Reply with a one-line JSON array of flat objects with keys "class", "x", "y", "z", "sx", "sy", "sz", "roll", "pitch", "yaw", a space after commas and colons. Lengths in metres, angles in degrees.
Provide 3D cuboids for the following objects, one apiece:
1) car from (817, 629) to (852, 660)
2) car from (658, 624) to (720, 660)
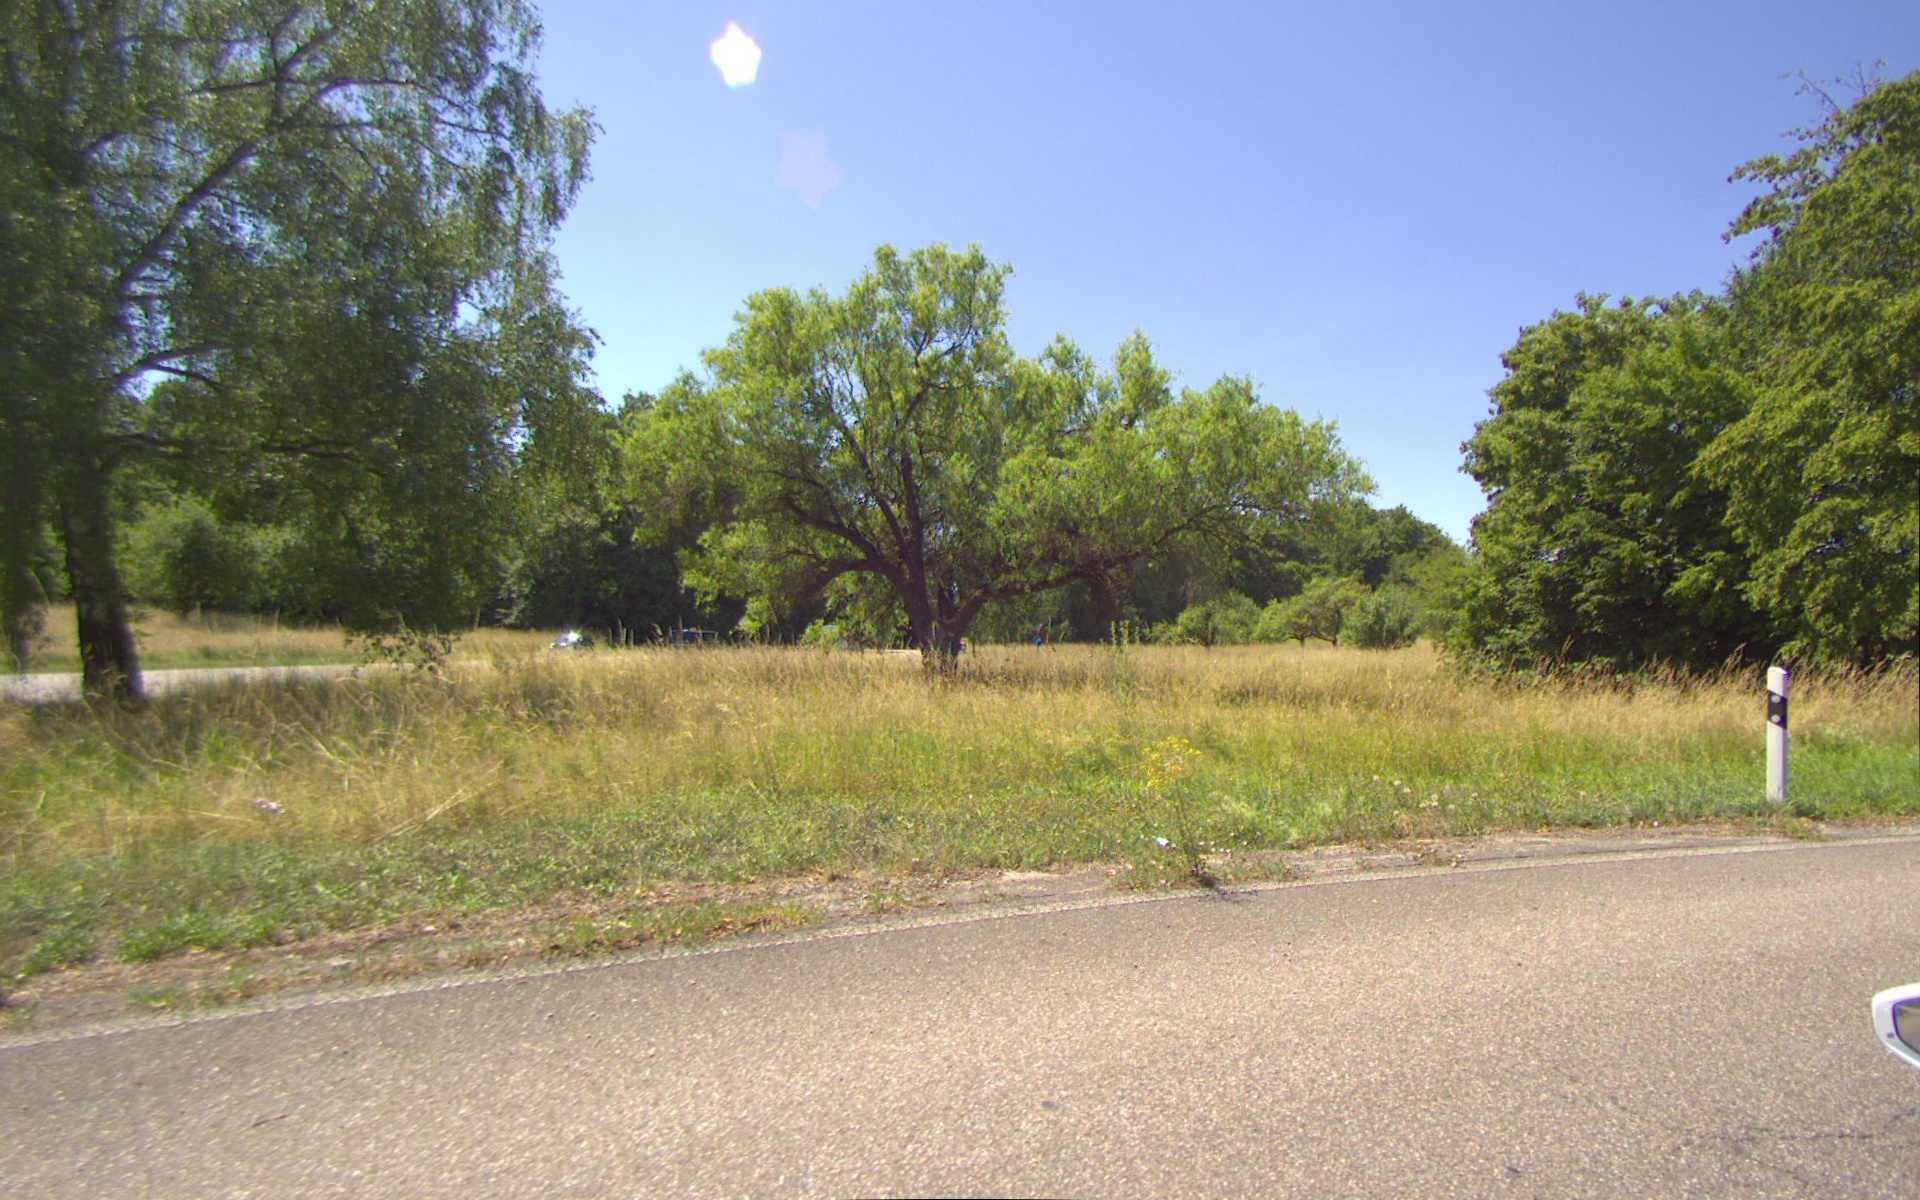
[{"class": "car", "x": -10.780, "y": 3.800, "z": 86.557, "sx": 2.081, "sy": 2.534, "sz": 4.092, "roll": 1, "pitch": -2, "yaw": 6}, {"class": "car", "x": -15.680, "y": 2.404, "z": 58.269, "sx": 1.959, "sy": 1.973, "sz": 4.093, "roll": 1, "pitch": -2, "yaw": 8}]
